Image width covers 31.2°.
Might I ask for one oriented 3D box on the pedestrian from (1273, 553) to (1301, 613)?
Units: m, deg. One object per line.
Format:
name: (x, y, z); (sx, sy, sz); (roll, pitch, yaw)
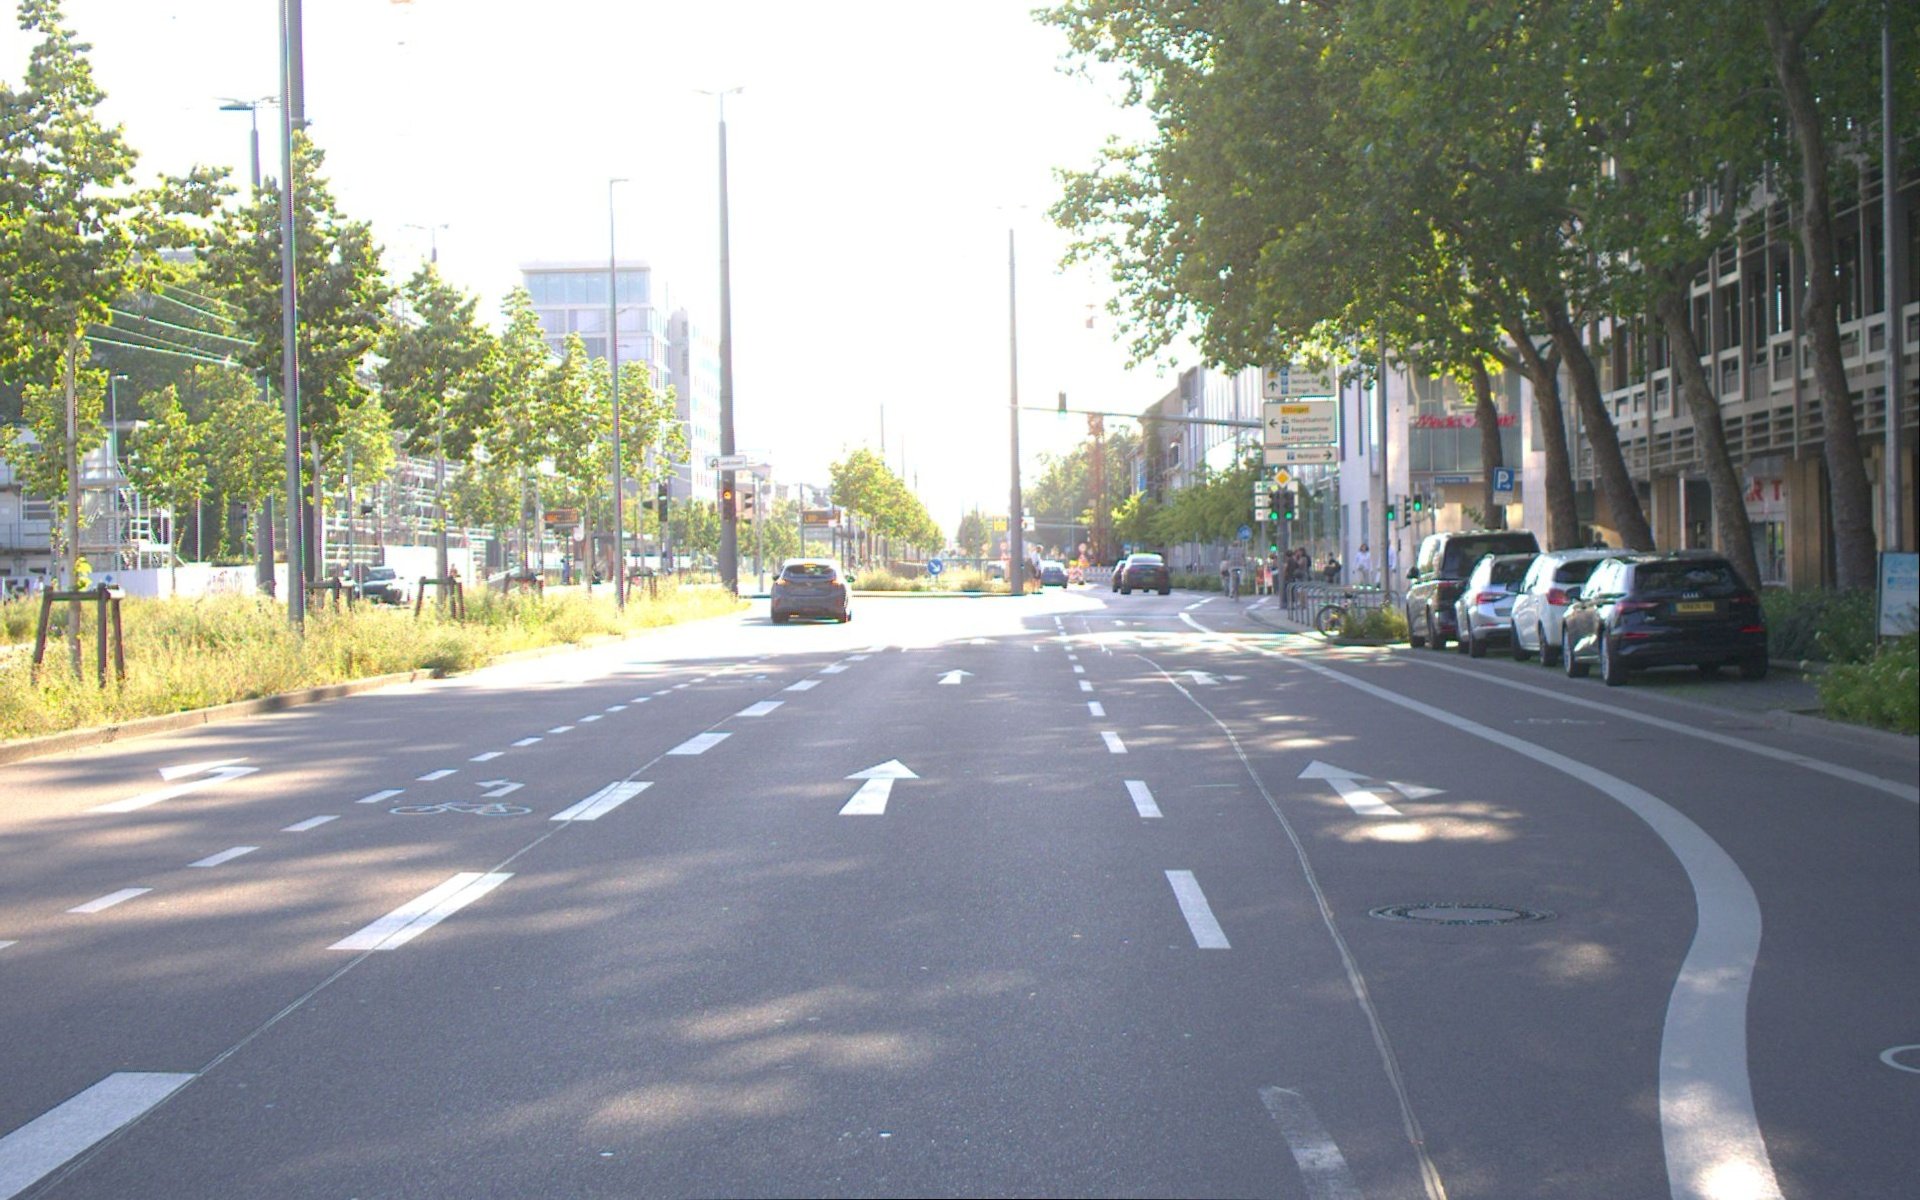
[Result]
pedestrian: (8.924, -0.462, 93.866); (0.634, 1.602, 0.570); (-3, 1, 2)

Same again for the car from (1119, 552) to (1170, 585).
car: (8.022, -1.381, 149.982); (1.940, 1.423, 3.926); (-1, 1, -1)

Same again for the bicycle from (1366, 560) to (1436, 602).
bicycle: (11.988, -0.520, 93.508); (1.804, 1.082, 0.479); (-2, 1, 3)

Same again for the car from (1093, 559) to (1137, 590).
car: (7.656, -1.282, 170.459); (1.940, 1.480, 3.926); (-1, 1, -1)

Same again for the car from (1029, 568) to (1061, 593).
car: (5.142, -1.175, 207.453); (1.759, 1.480, 3.850); (-1, 1, -1)

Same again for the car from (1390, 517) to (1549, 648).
car: (8.367, -0.309, 56.900); (1.829, 1.964, 5.321); (-3, 1, 1)

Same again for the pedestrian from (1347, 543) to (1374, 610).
pedestrian: (12.666, -0.750, 108.692); (0.766, 2.053, 0.797); (-3, 1, 8)

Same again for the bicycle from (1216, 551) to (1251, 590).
bicycle: (8.432, -0.913, 105.818); (0.800, 1.200, 2.263); (-1, 1, 12)

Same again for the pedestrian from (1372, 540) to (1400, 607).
pedestrian: (13.365, -0.842, 107.815); (0.766, 2.053, 0.797); (-3, 1, 8)

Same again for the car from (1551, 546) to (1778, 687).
car: (7.884, 0.149, 38.808); (1.706, 1.413, 4.276); (-3, 1, 1)

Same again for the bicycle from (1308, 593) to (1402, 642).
bicycle: (7.490, 0.332, 65.180); (1.692, 0.864, 0.572); (-2, 0, 10)

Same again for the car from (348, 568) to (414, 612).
car: (-24.146, -0.435, 143.469); (1.993, 1.770, 4.000); (-1, 1, 1)

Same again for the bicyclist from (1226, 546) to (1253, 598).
bicyclist: (8.608, -0.870, 105.807); (0.800, 1.596, 0.785); (-1, 1, 7)

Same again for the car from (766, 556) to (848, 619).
car: (-3.506, -0.307, 79.322); (1.776, 1.423, 4.000); (0, 1, -1)

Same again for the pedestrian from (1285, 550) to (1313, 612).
pedestrian: (9.326, -0.526, 94.609); (0.634, 1.697, 0.570); (-3, 1, 2)

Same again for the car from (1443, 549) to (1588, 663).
car: (8.185, 0.049, 51.005); (1.682, 1.509, 5.058); (-3, 1, 5)

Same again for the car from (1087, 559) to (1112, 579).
car: (10.574, -2.367, 260.541); (1.703, 1.423, 3.926); (-1, 1, -1)

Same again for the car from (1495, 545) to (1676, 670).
car: (8.172, 0.066, 45.175); (1.681, 1.473, 3.874); (-3, 1, 1)
